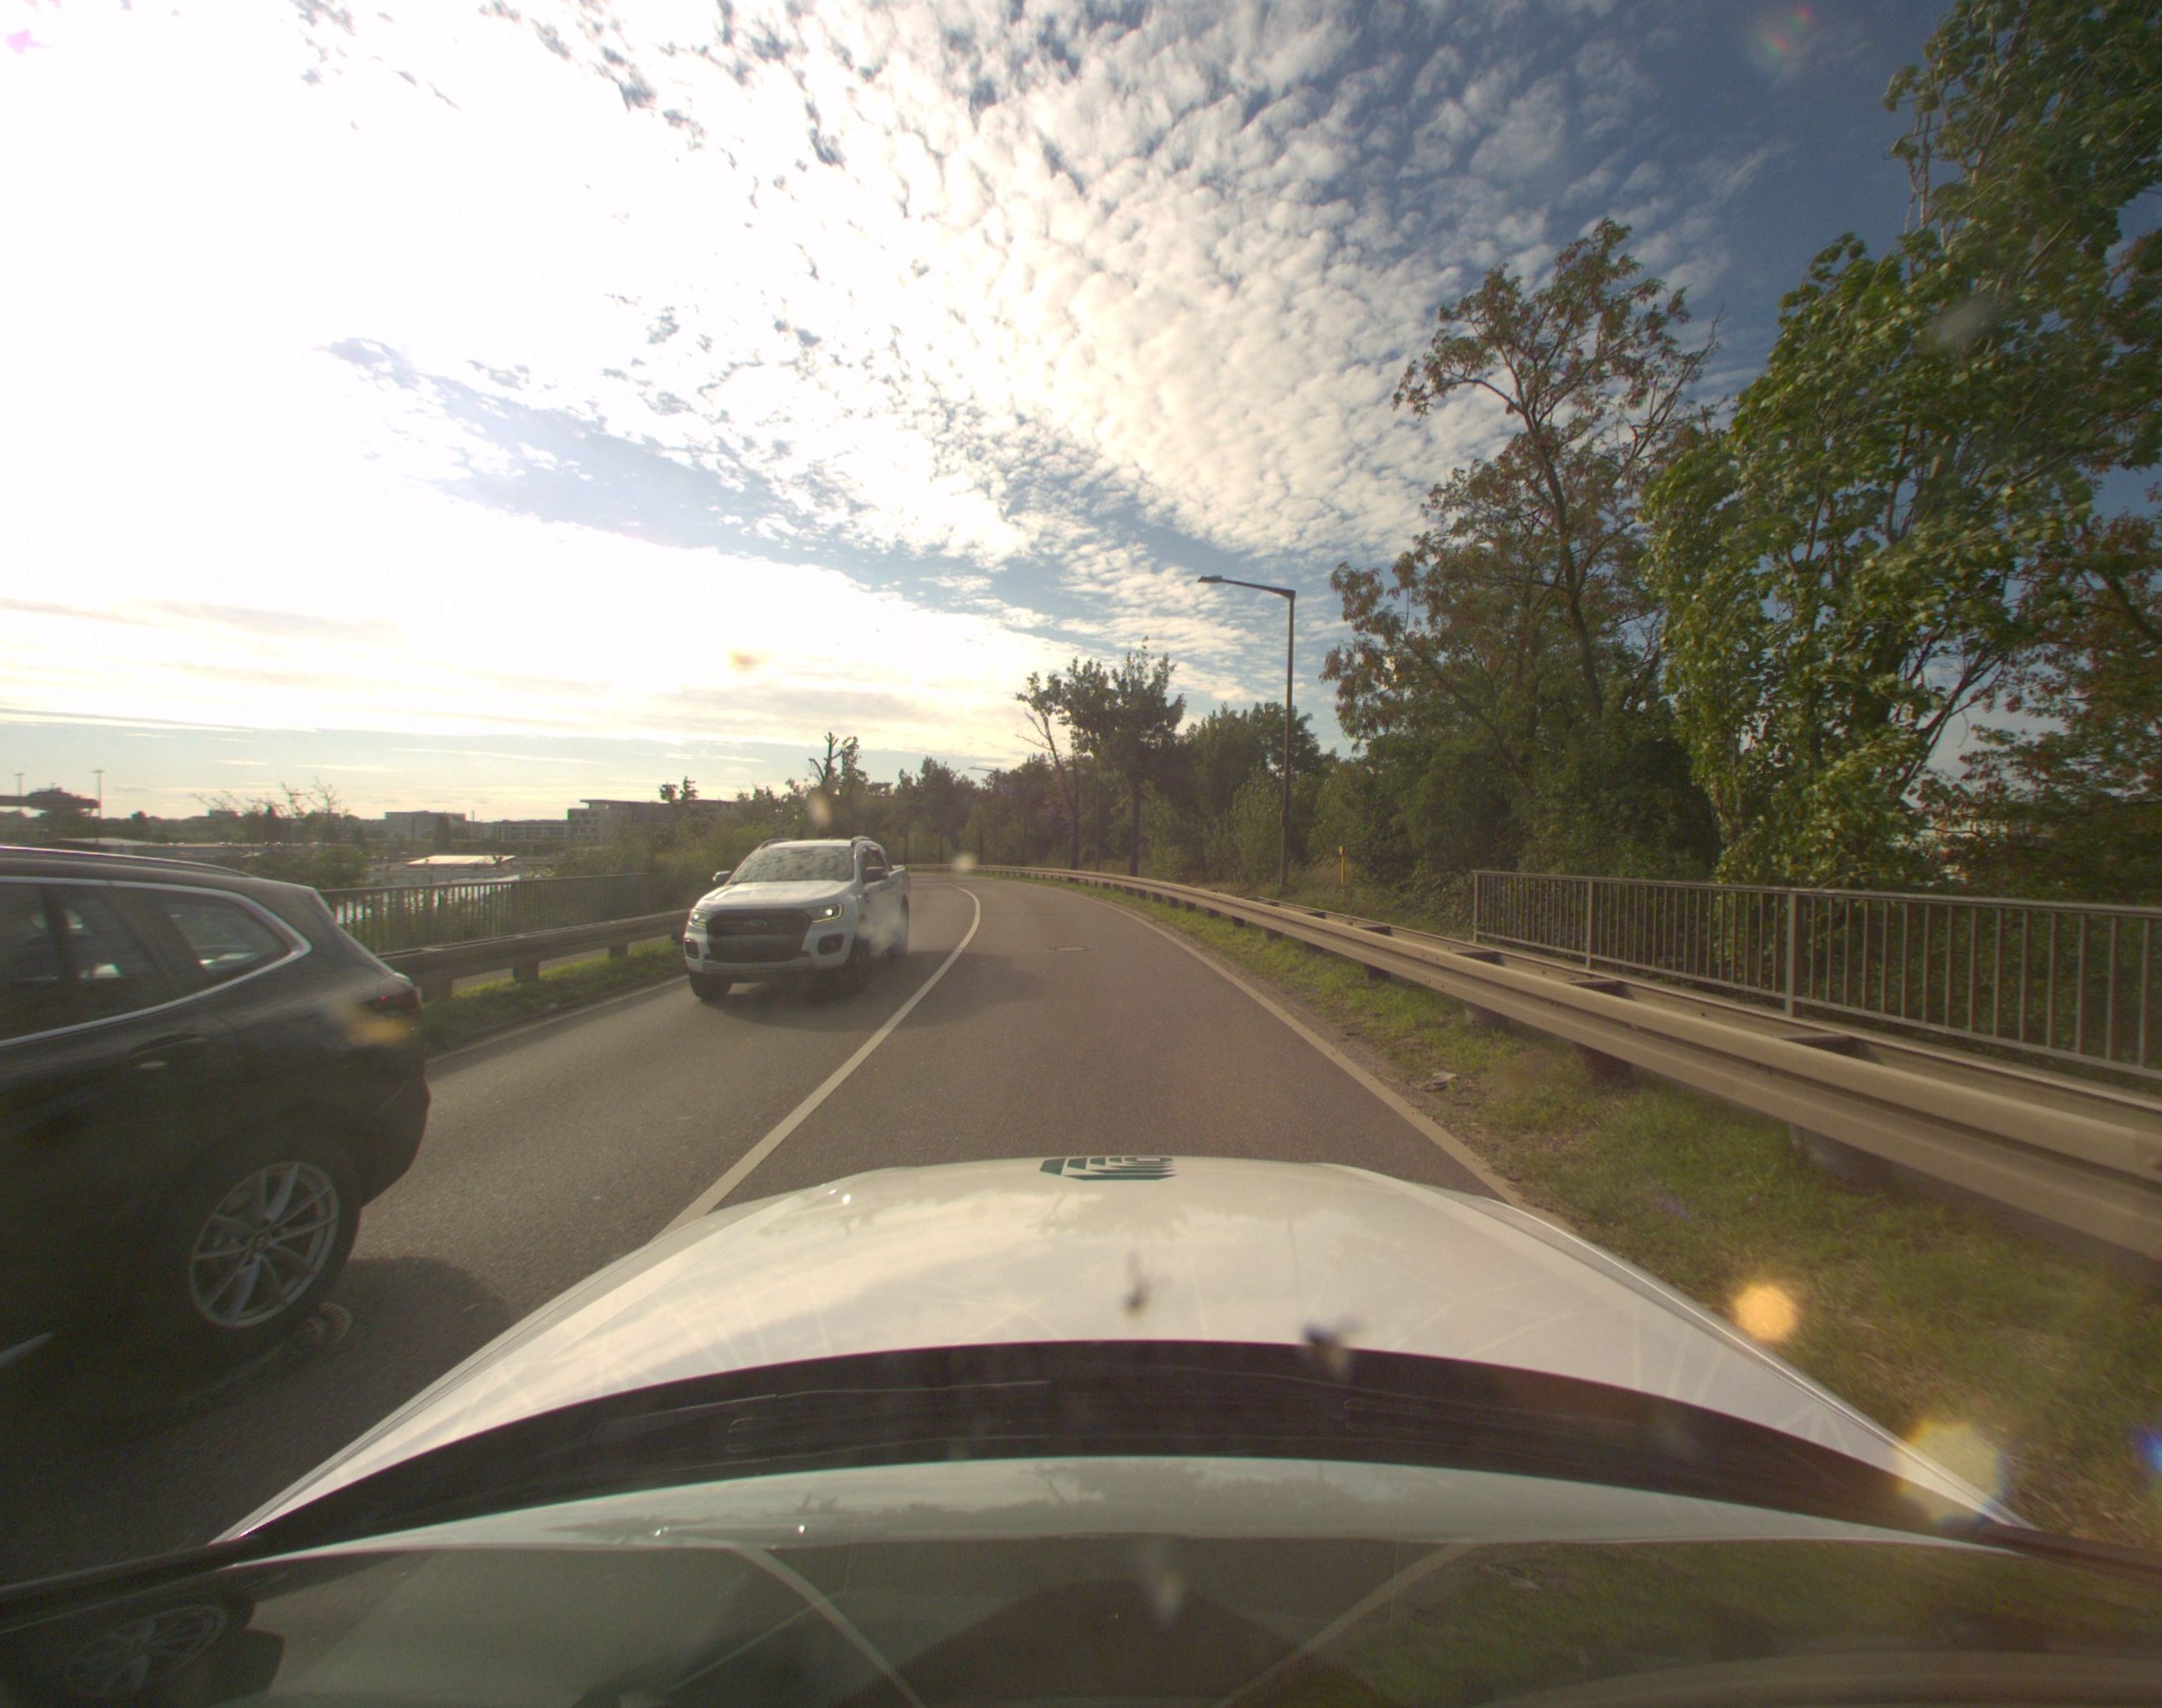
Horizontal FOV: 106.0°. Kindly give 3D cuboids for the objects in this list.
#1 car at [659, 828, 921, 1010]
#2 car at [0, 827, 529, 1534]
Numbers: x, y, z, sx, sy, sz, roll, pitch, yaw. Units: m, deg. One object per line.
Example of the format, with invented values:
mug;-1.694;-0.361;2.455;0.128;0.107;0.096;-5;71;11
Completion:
car;-3.500;0.665;11.055;1.897;1.810;5.396;-1;0;-4
car;-3.474;0.794;1.433;1.884;1.649;4.639;-2;0;-2
